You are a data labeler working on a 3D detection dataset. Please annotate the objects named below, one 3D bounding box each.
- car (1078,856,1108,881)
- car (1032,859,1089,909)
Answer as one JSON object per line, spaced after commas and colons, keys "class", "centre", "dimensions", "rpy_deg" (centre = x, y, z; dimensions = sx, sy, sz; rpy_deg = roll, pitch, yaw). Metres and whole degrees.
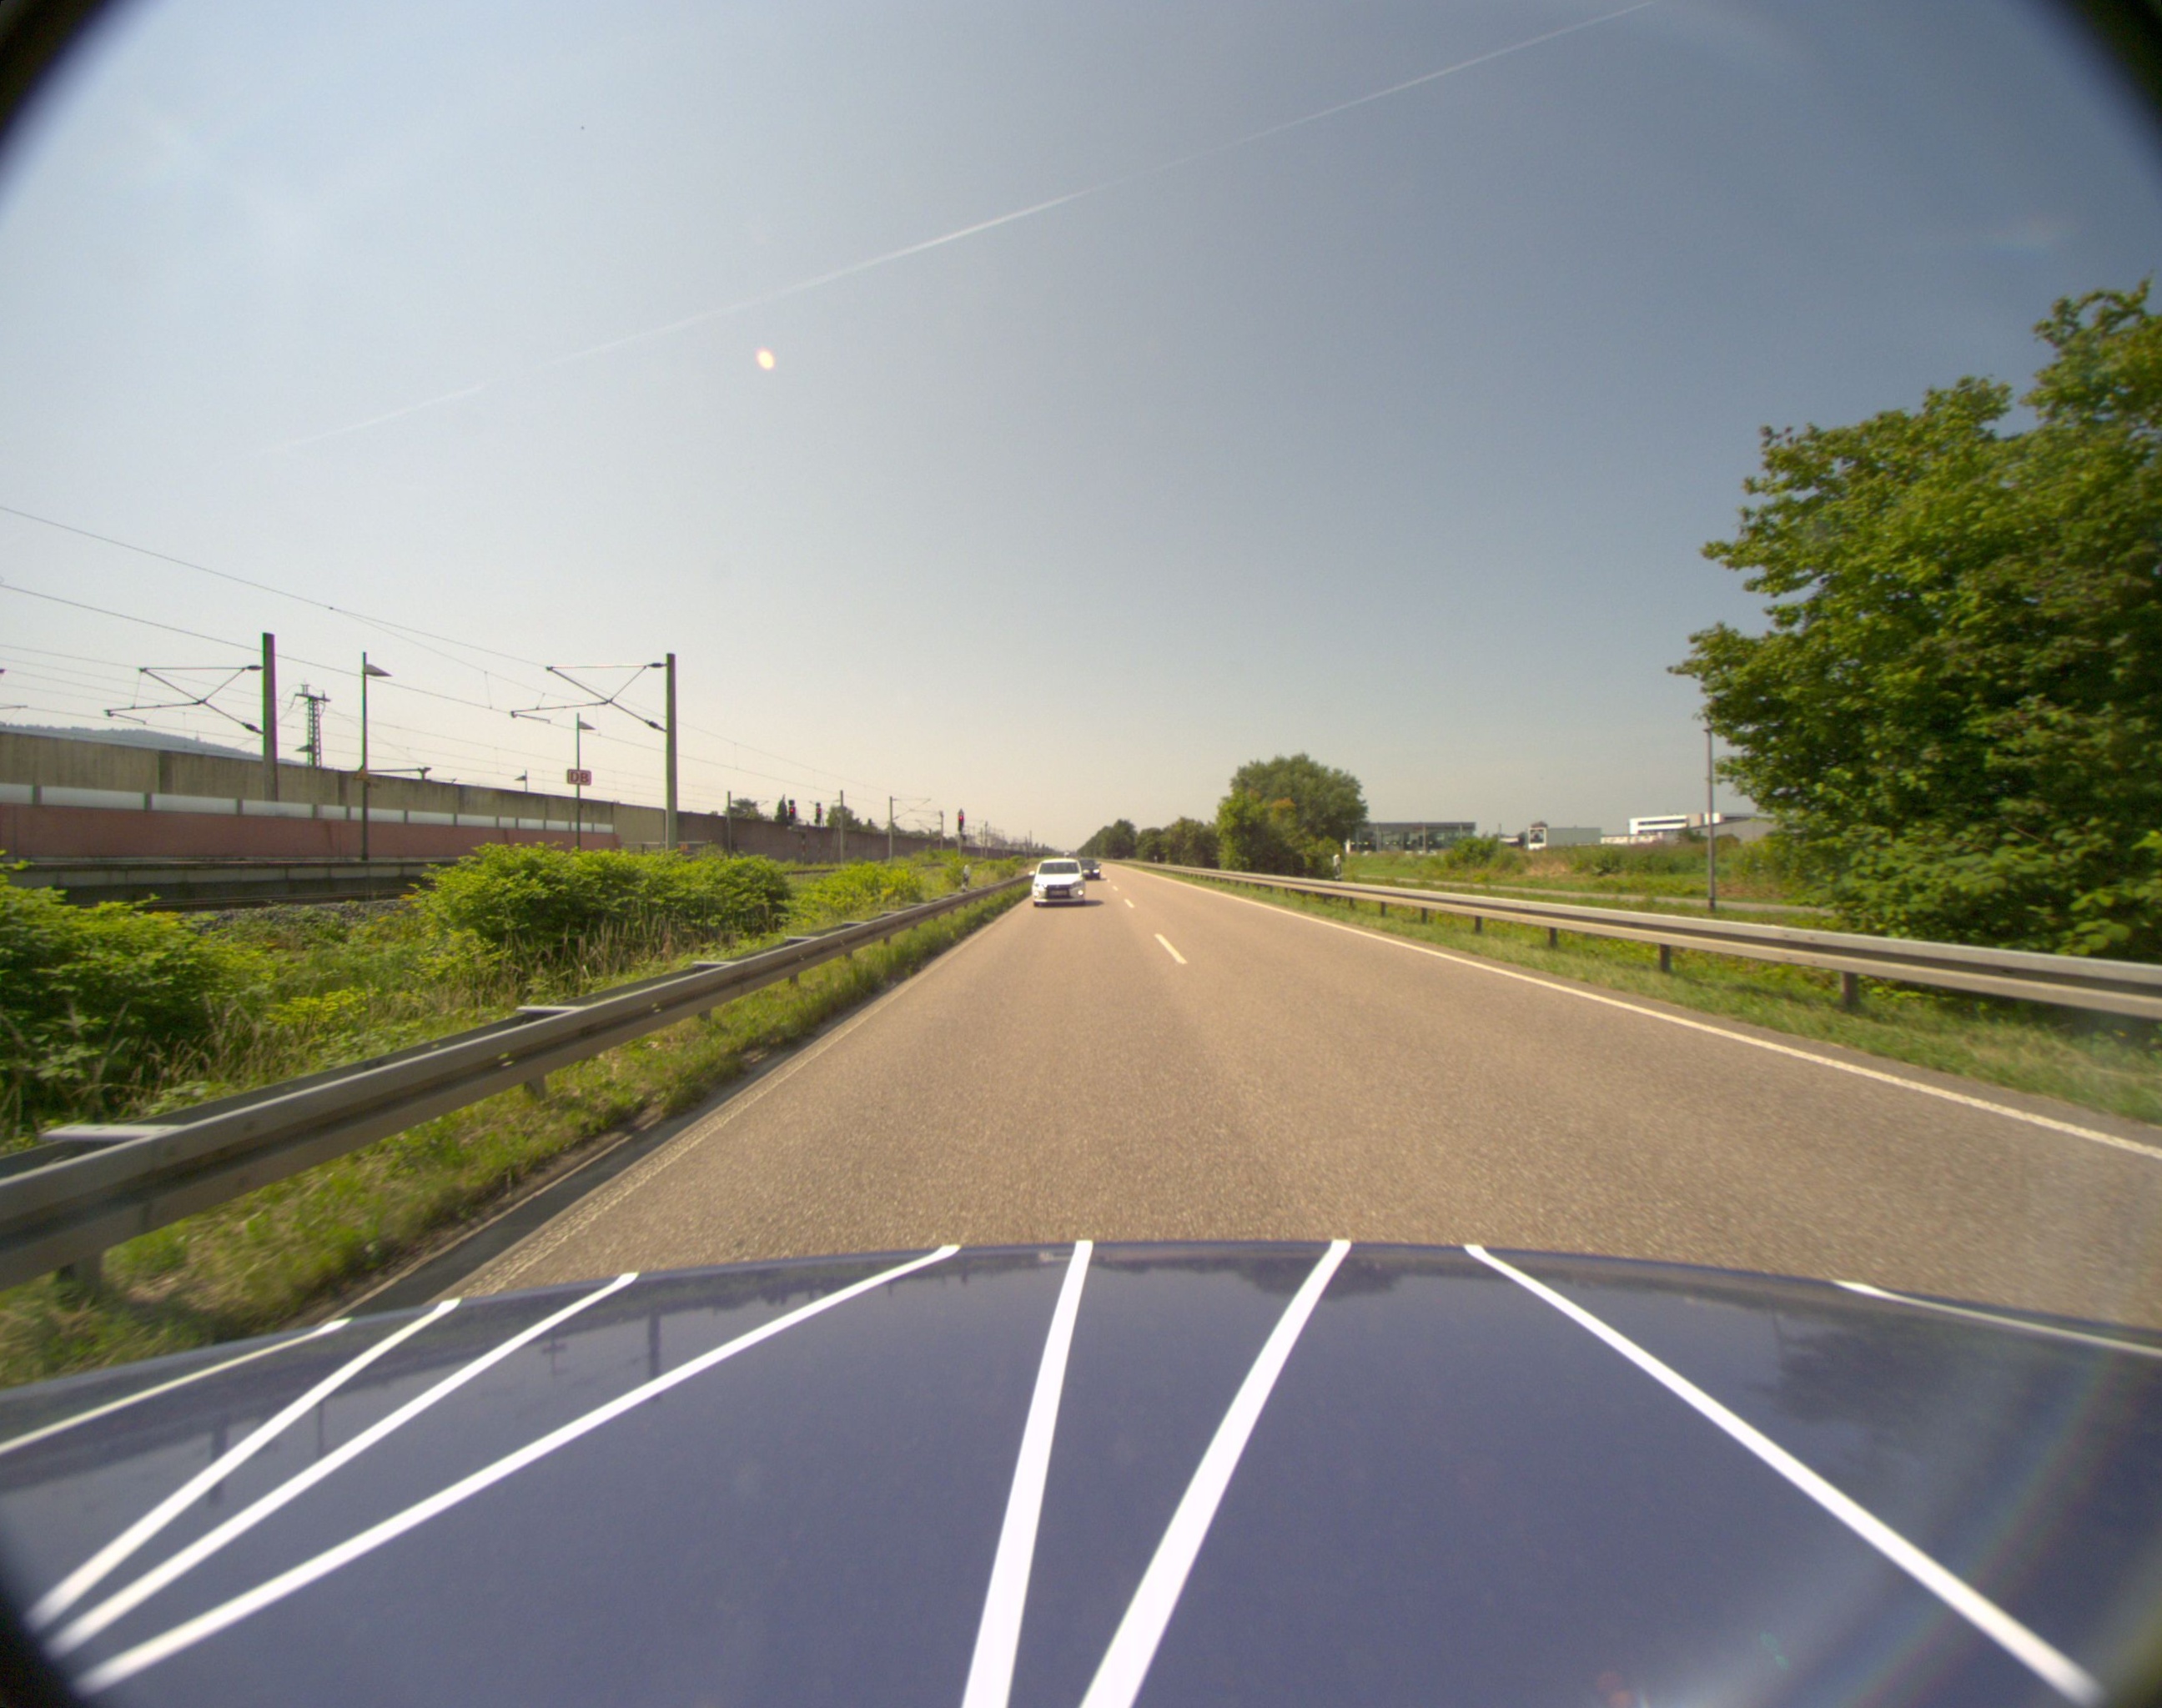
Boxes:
{"class": "car", "centre": [0.724, 0.872, 48.613], "dimensions": [1.711, 1.470, 4.154], "rpy_deg": [-1, 0, -2]}
{"class": "car", "centre": [-0.681, 0.928, 25.281], "dimensions": [1.701, 1.470, 4.154], "rpy_deg": [-1, 0, -2]}
